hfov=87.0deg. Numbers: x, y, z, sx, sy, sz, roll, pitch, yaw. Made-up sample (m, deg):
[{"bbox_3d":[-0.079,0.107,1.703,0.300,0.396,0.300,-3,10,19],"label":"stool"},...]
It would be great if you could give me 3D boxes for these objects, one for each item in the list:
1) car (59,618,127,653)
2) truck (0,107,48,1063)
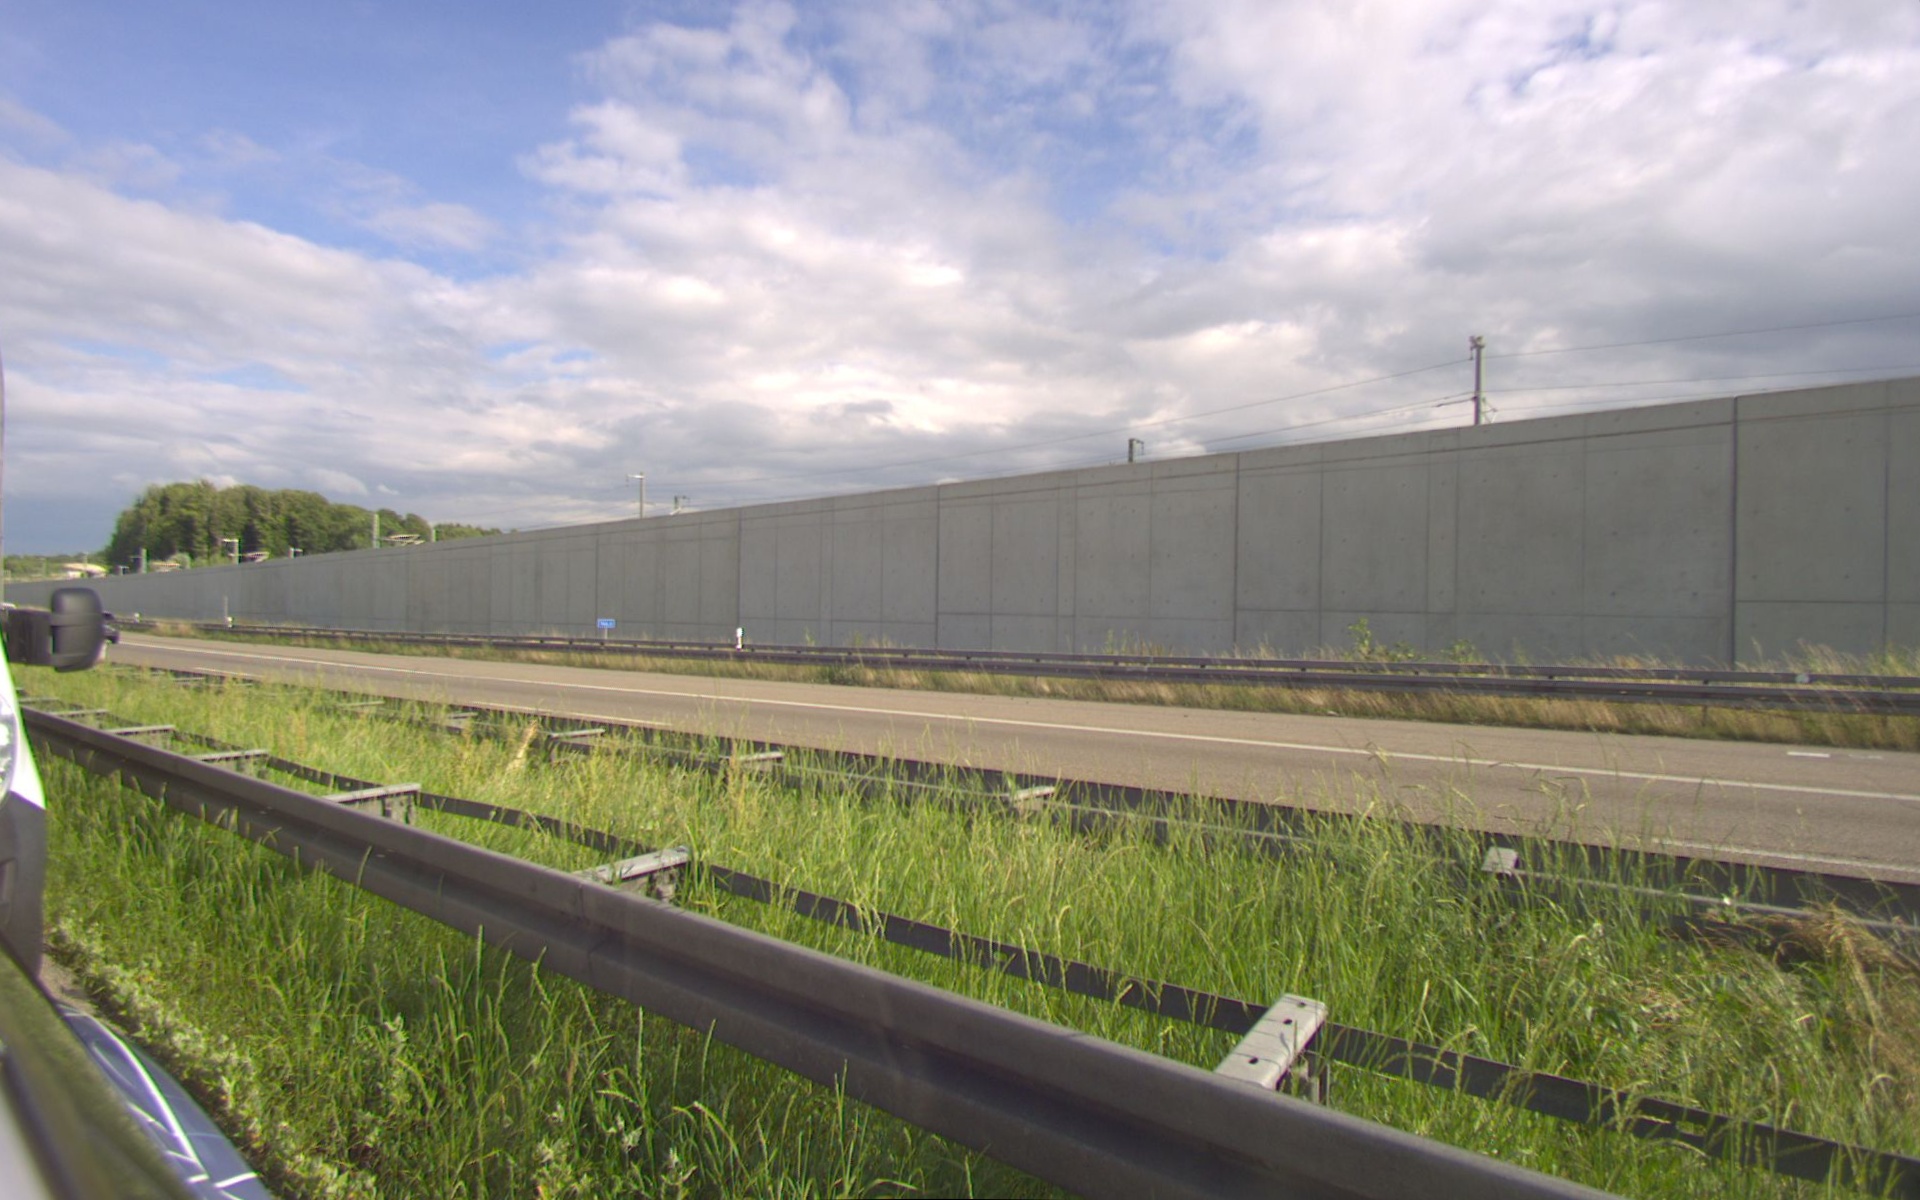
[{"bbox_3d":[-42.973,1.745,50.135,4.117,1.608,1.973,-1,0,41],"label":"car"},{"bbox_3d":[-6.657,-0.017,5.201,7.800,3.129,2.033,-1,0,41],"label":"truck"}]
